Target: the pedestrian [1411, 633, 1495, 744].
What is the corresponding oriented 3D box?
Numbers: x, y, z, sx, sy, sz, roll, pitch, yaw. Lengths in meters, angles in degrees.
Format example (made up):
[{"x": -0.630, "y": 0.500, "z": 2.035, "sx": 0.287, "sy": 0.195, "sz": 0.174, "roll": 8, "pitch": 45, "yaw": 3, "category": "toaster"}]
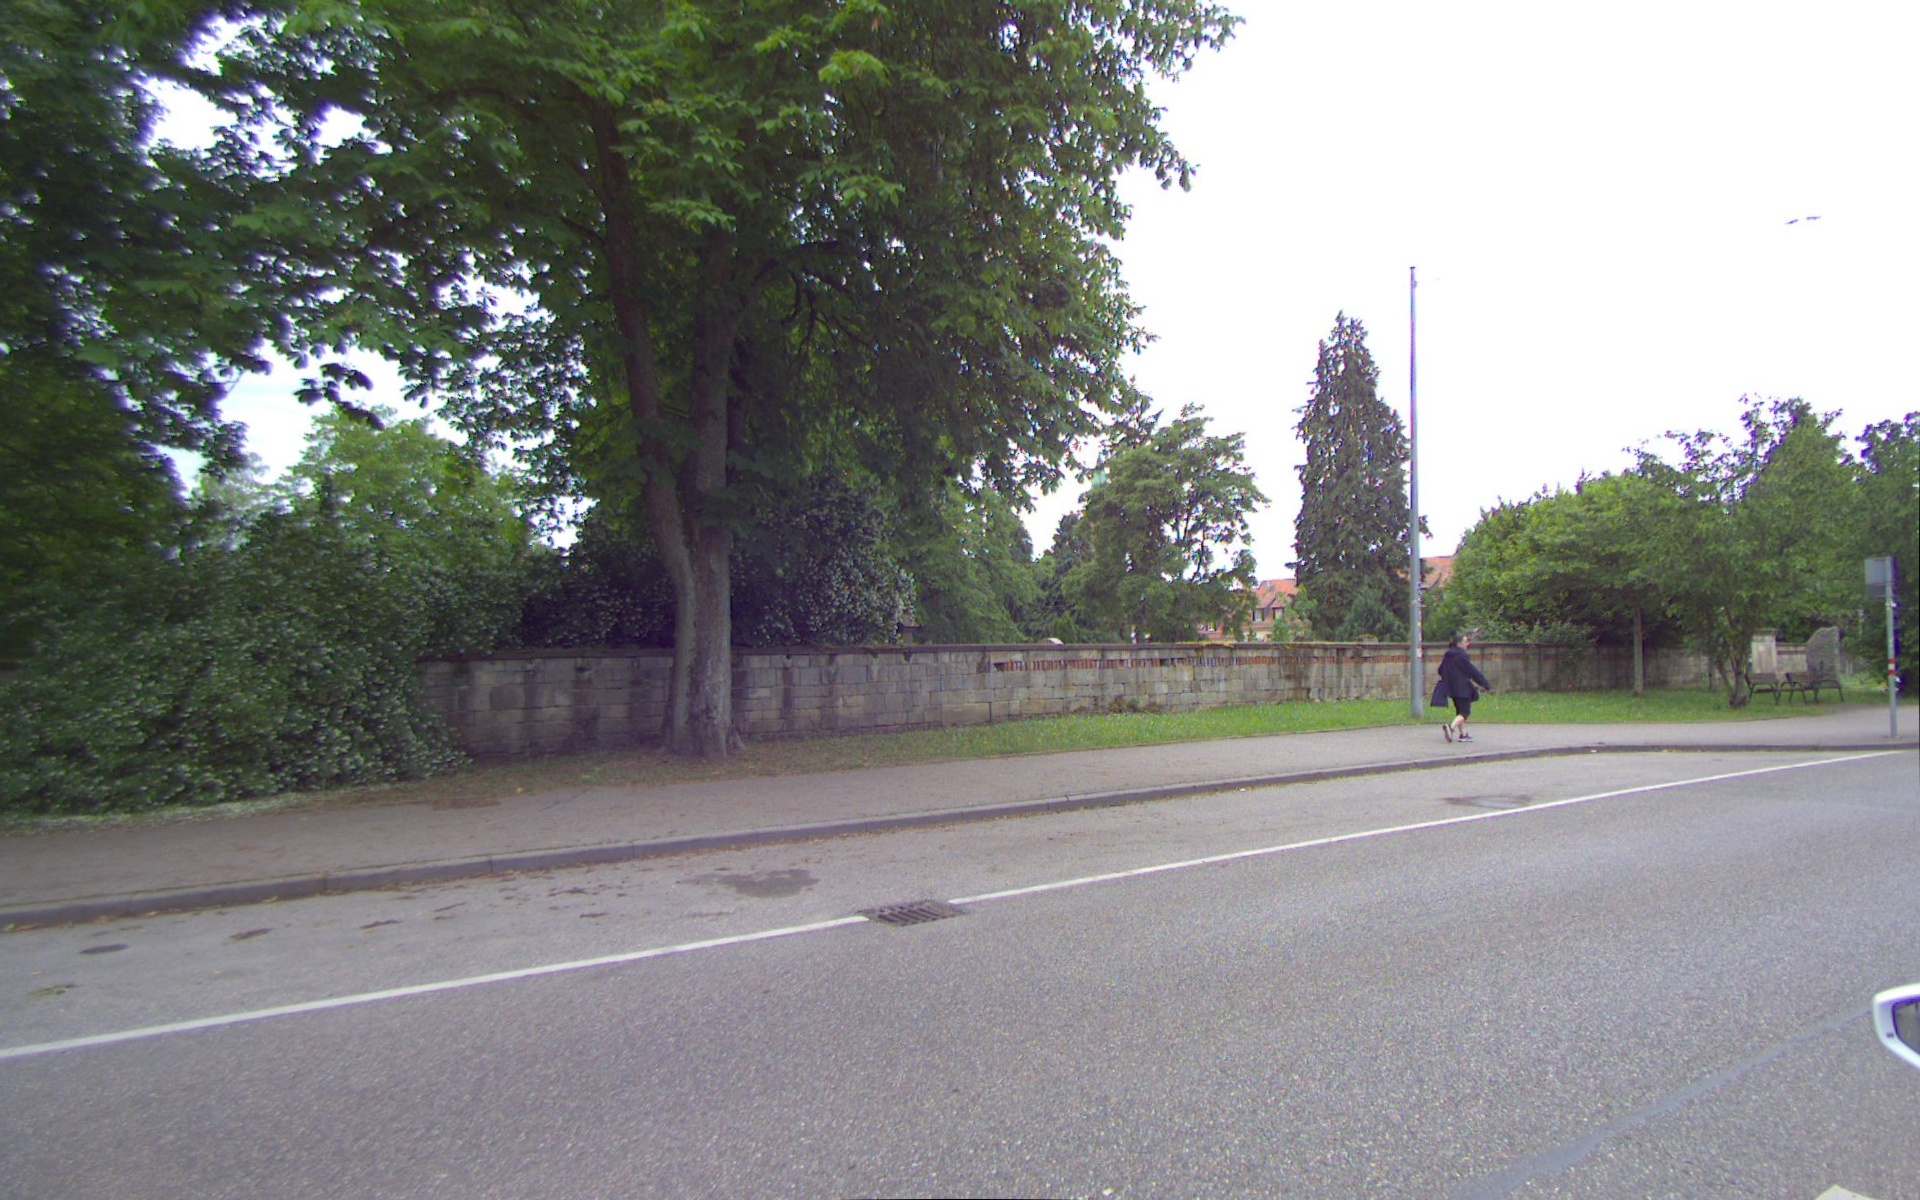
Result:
[{"x": 7.422, "y": 1.306, "z": 15.132, "sx": 0.955, "sy": 1.599, "sz": 0.745, "roll": 1, "pitch": -1, "yaw": -30, "category": "pedestrian"}]
